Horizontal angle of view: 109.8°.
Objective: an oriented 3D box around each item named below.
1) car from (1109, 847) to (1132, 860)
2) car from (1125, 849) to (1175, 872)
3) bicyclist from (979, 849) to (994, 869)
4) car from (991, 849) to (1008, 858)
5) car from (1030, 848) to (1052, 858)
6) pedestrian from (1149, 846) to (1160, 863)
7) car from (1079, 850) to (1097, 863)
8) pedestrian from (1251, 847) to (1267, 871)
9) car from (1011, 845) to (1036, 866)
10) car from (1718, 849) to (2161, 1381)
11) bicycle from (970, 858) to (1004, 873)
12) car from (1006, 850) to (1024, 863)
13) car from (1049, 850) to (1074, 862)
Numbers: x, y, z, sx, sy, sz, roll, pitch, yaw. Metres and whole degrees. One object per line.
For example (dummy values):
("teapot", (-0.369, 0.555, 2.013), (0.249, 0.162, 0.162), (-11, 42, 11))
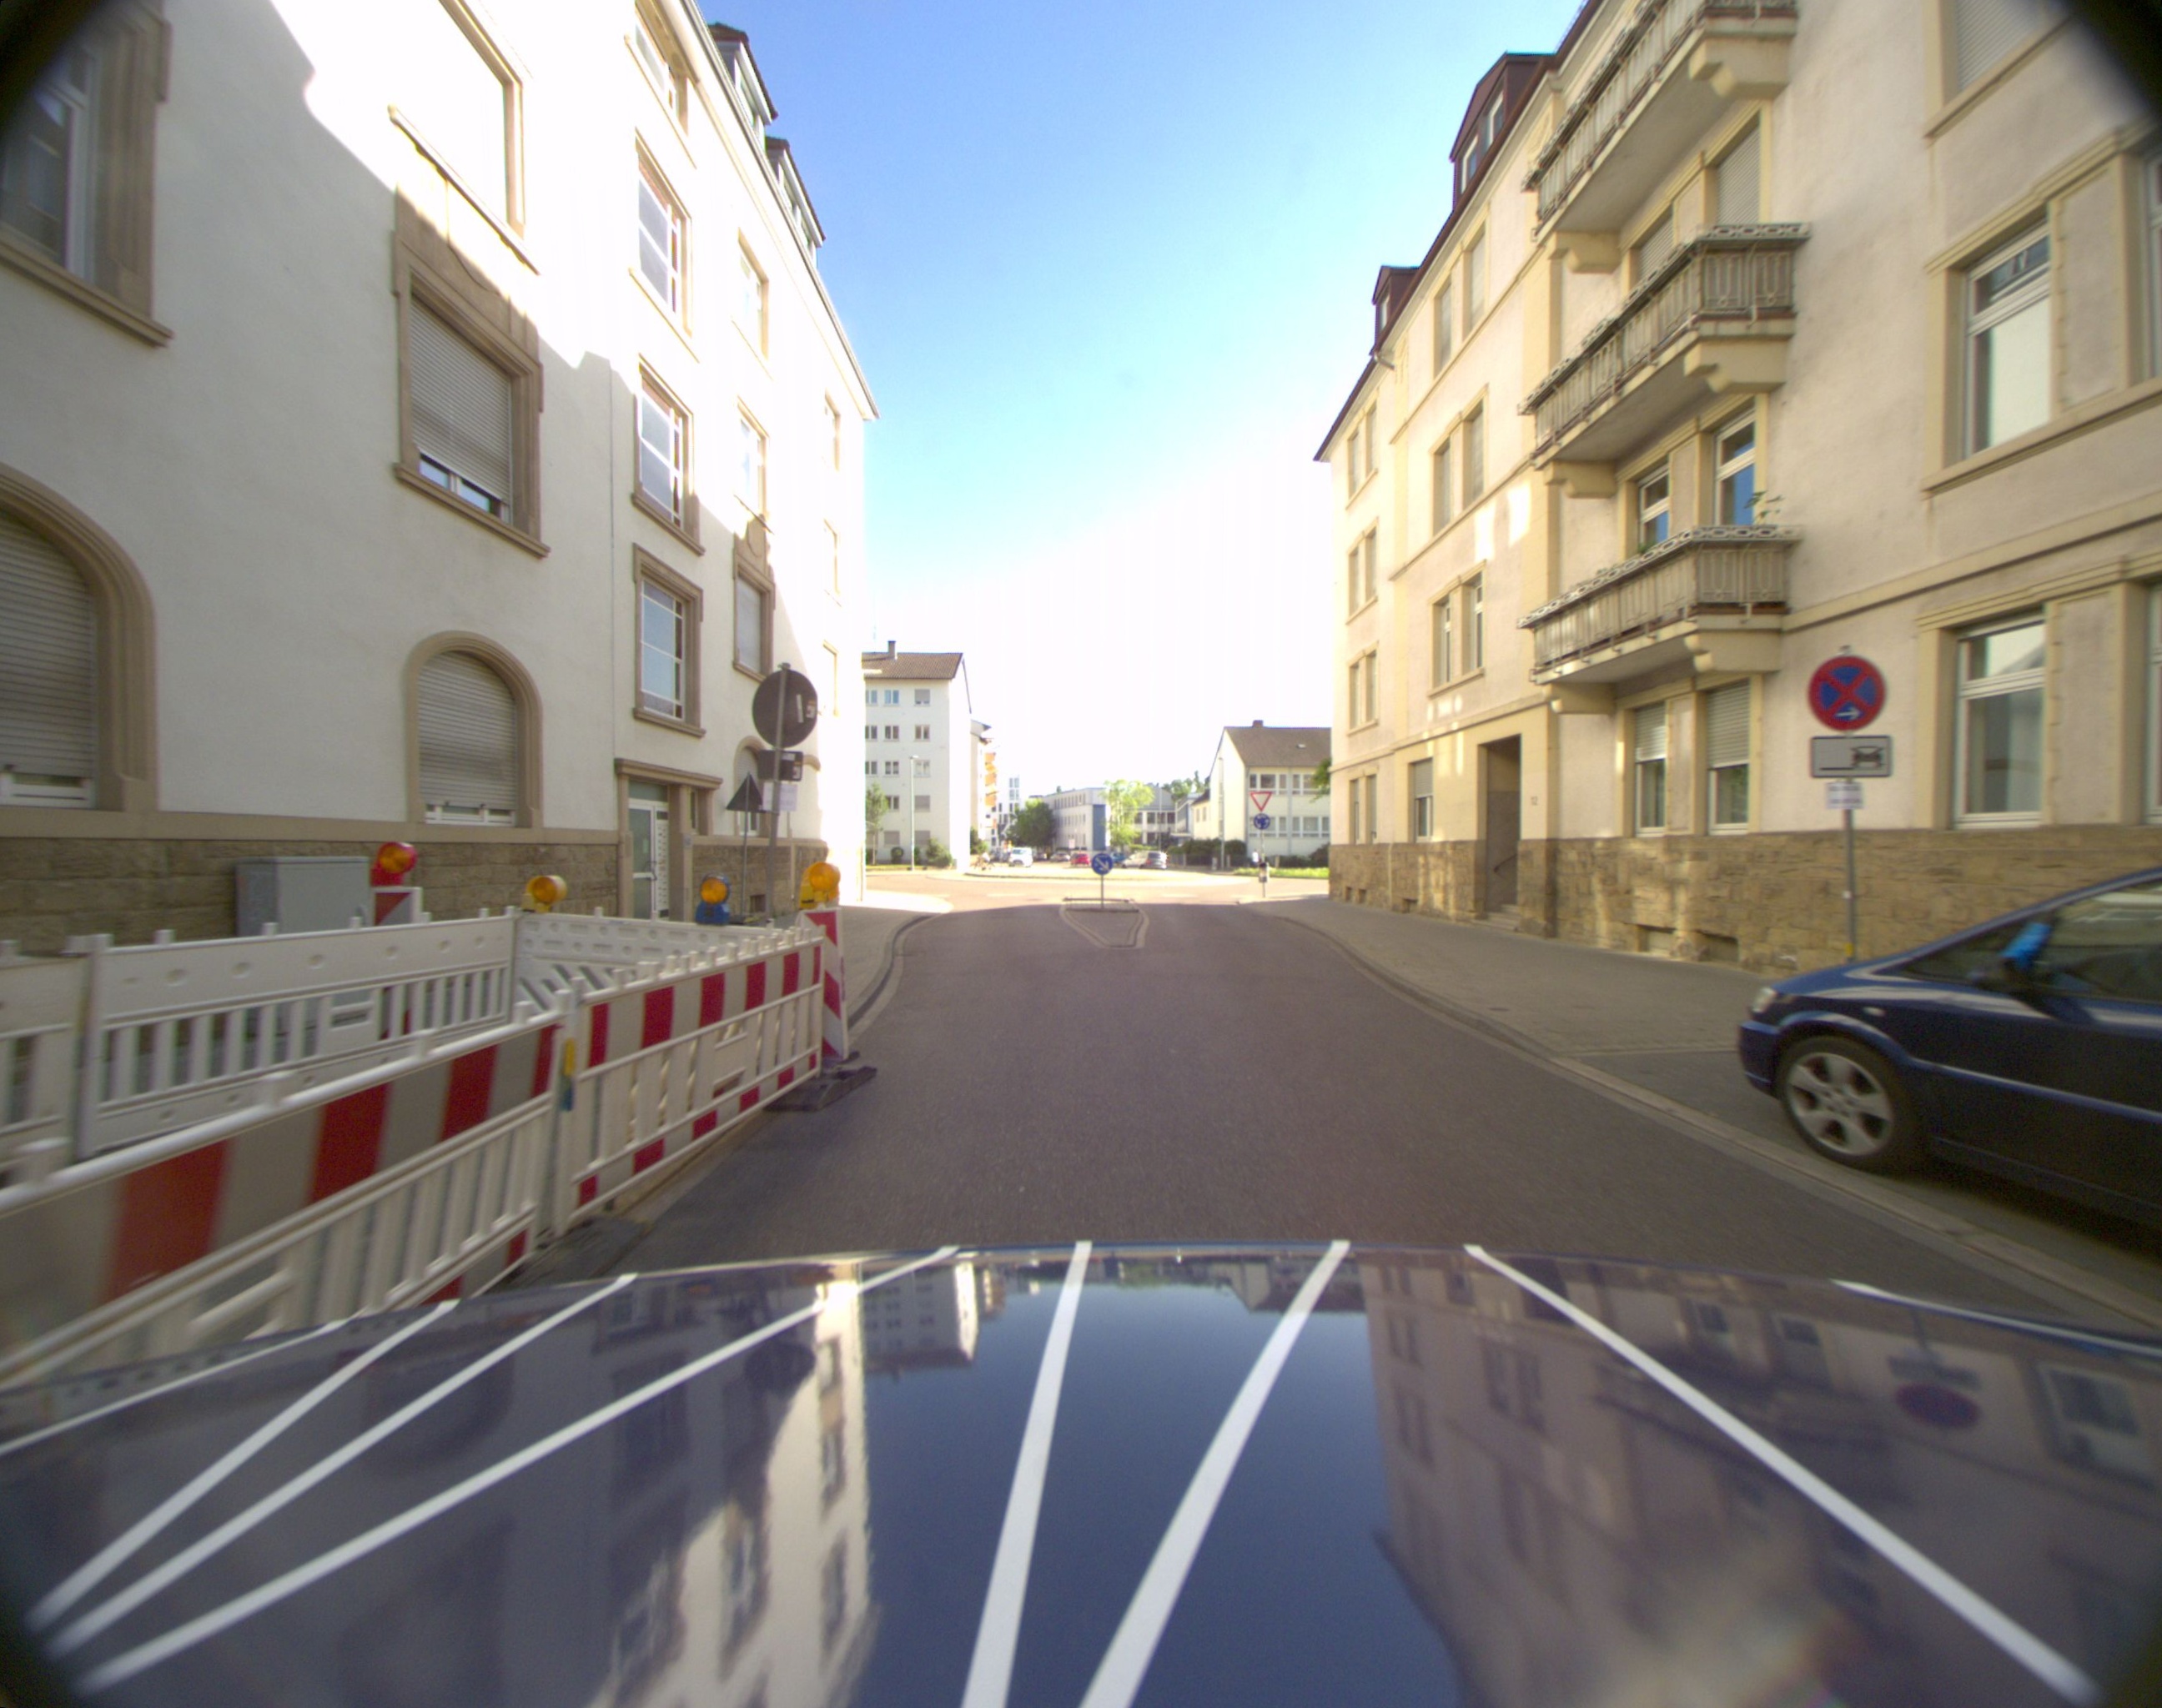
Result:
("car", (4.325, -0.056, 83.696), (1.885, 1.426, 4.411), (0, 0, -7))
("car", (5.104, 0.475, 56.932), (1.883, 1.686, 4.264), (1, 0, -24))
("bicyclist", (-6.459, 0.341, 52.074), (0.826, 1.304, 0.809), (0, 1, -25))
("car", (-15.789, -0.109, 146.452), (2.141, 1.800, 4.826), (0, 1, -21))
("car", (-6.507, -0.175, 122.117), (2.141, 1.604, 4.826), (0, 1, -21))
("pedestrian", (7.497, 0.072, 77.289), (0.820, 1.696, 0.996), (0, 1, -12))
("car", (0.786, 0.304, 87.887), (1.716, 1.374, 3.998), (3, 0, -4))
("pedestrian", (13.102, 0.370, 56.066), (0.994, 1.696, 0.693), (1, 1, 26))
("car", (-5.955, 0.178, 78.860), (1.998, 2.002, 4.797), (4, 0, 1))
("car", (4.479, 0.877, 2.100), (1.767, 1.761, 4.293), (1, 0, -1))
("bicycle", (-6.450, 0.762, 52.083), (2.213, 1.008, 0.809), (0, 1, -25))
("car", (-9.119, 0.331, 104.412), (1.760, 1.445, 3.994), (5, 0, -15))
("car", (-2.956, 0.294, 112.850), (2.142, 1.604, 4.825), (0, 1, -23))
